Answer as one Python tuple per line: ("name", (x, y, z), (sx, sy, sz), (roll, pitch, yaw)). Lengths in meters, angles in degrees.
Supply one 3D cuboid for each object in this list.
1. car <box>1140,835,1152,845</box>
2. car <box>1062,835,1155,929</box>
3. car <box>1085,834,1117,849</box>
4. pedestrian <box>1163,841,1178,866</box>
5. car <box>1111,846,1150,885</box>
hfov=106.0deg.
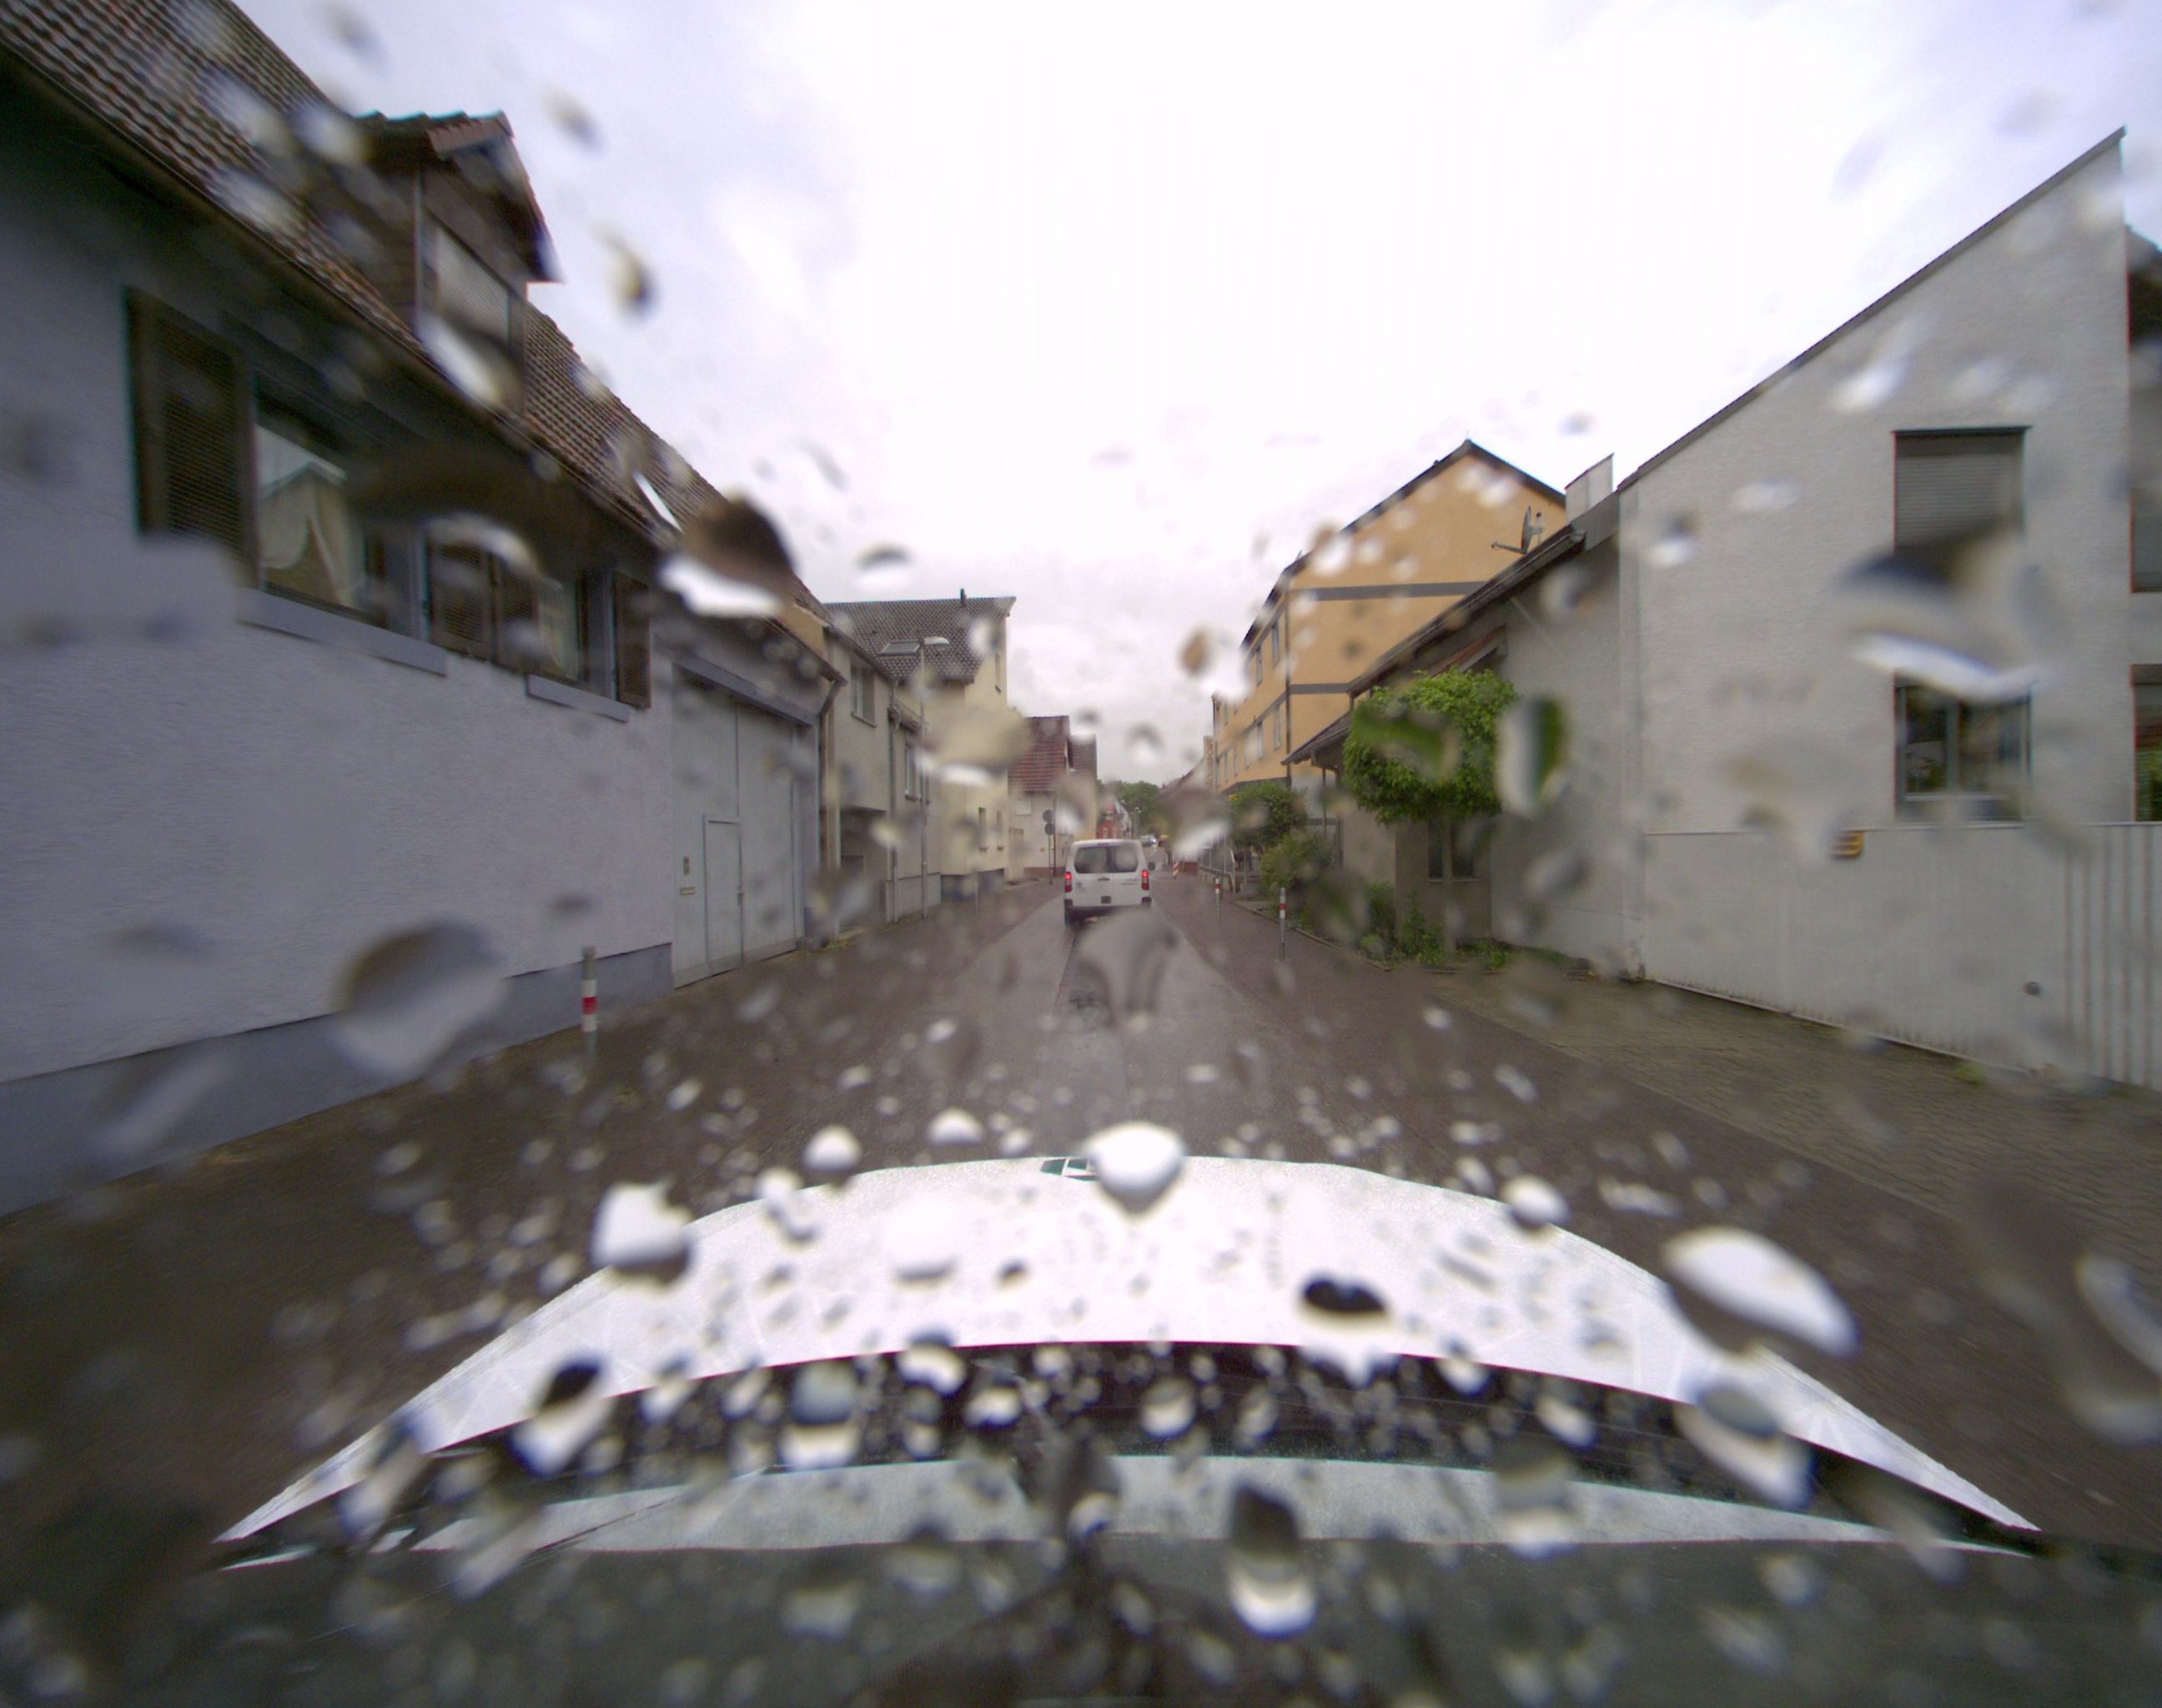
("car", (10.117, -2.124, 126.302), (1.579, 1.441, 3.776), (0, 0, 9))
("car", (0.669, 0.543, 17.933), (1.767, 1.780, 4.004), (-2, 0, 4))
("car", (2.497, -1.594, 102.192), (3.434, 1.559, 1.986), (-5, 2, -21))
("pedestrian", (6.987, -0.028, 63.890), (1.046, 1.892, 0.878), (-2, 0, 2))
("car", (2.823, 0.610, 45.668), (1.984, 2.013, 4.006), (-2, 0, 5))
